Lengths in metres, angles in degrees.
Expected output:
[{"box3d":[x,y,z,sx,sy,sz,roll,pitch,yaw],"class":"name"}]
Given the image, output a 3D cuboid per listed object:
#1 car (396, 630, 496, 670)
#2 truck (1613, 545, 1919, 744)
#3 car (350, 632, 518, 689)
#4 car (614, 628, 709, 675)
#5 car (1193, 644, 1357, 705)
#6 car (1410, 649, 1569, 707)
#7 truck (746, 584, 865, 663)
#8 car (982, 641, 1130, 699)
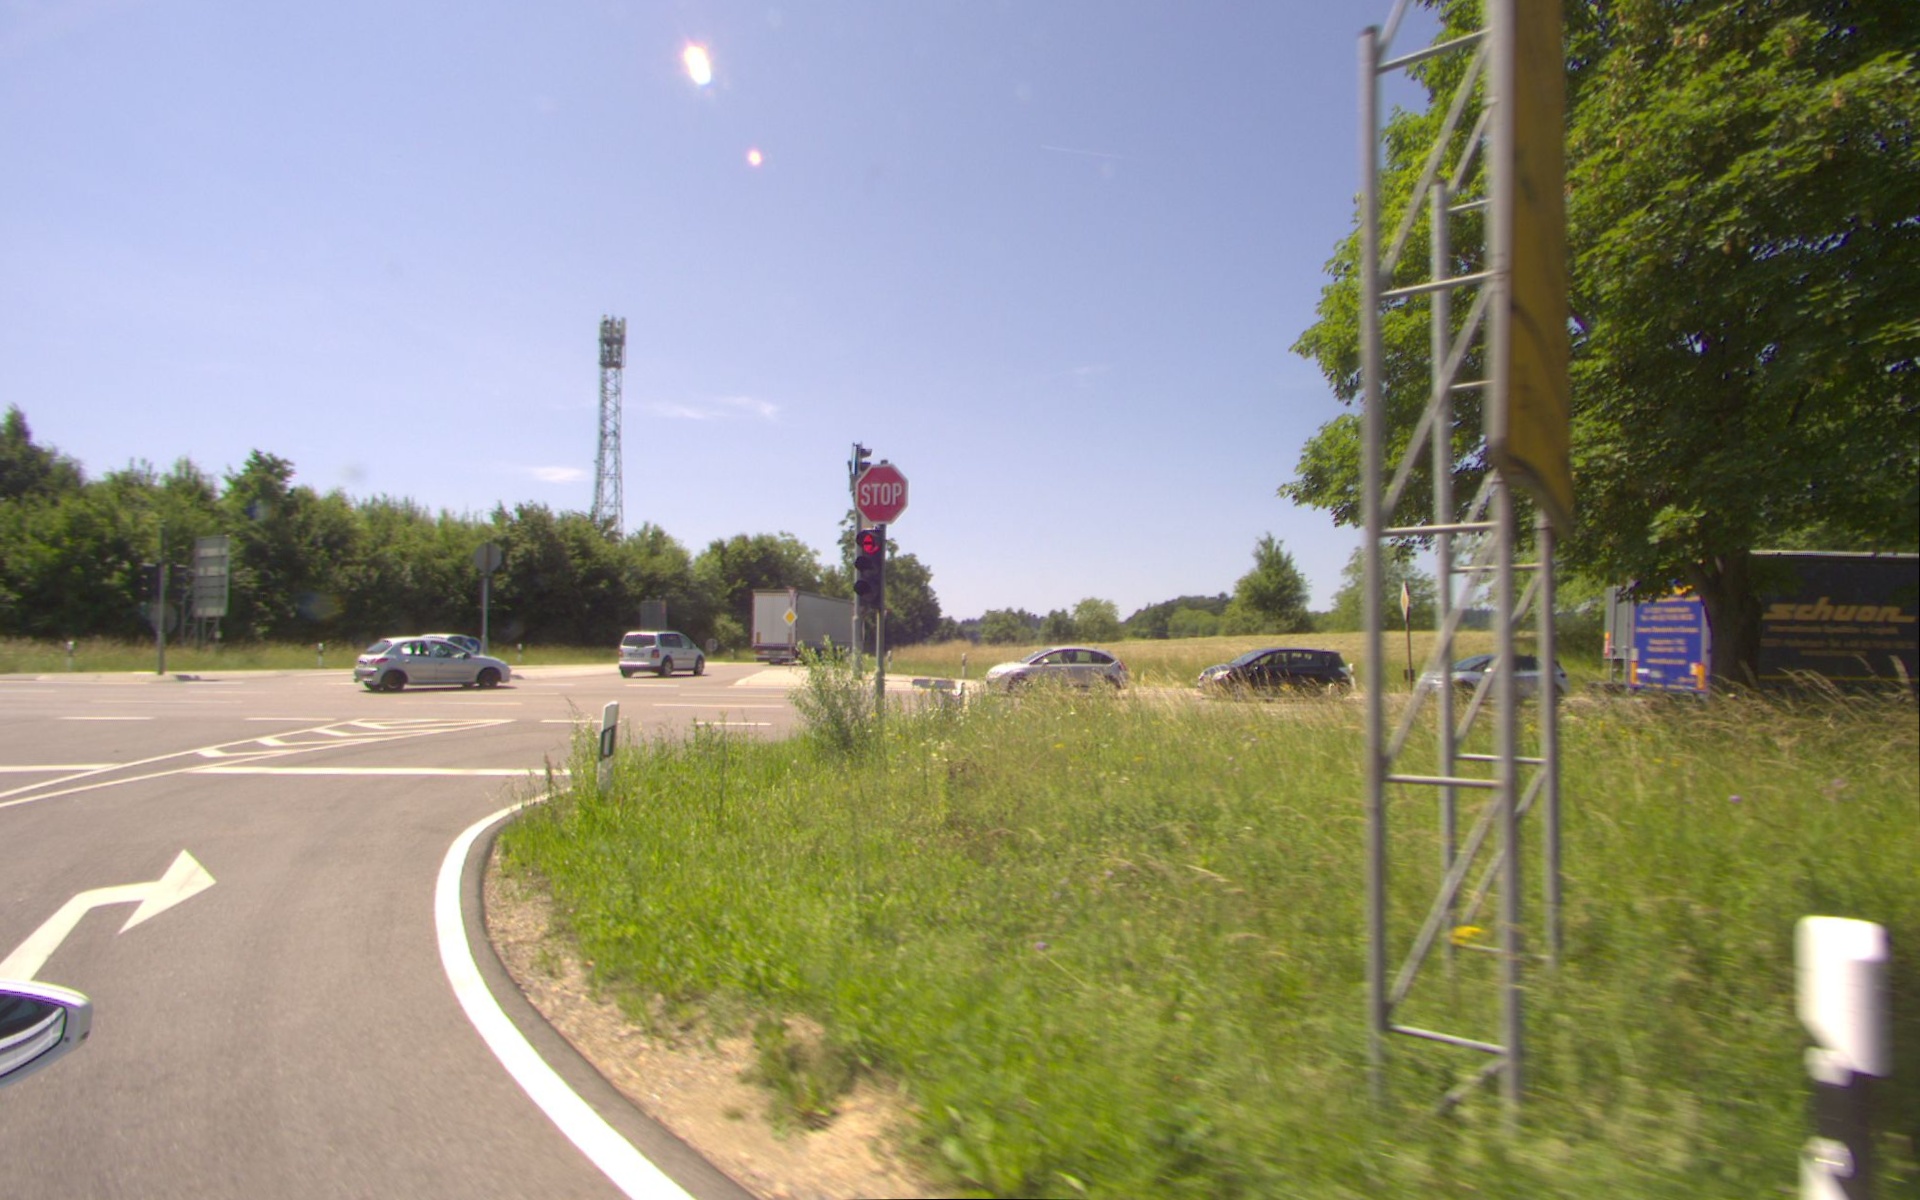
[{"box3d":[-19.106,1.843,37.389,1.540,1.388,3.531,1,-1,8],"class":"car"},{"box3d":[24.184,1.133,23.128,16.484,4.184,2.853,1,-1,-1],"class":"truck"},{"box3d":[-14.470,1.628,27.661,1.799,1.431,3.750,0,-2,44],"class":"car"},{"box3d":[-11.142,1.881,37.632,1.784,1.646,4.059,0,-1,10],"class":"car"},{"box3d":[9.253,2.182,29.641,4.297,1.573,1.729,2,0,0],"class":"car"},{"box3d":[16.083,2.354,30.520,3.943,1.573,1.655,2,0,0],"class":"car"},{"box3d":[-9.147,1.659,62.503,3.075,4.224,16.695,1,-3,6],"class":"truck"},{"box3d":[2.771,2.042,29.486,4.090,1.489,1.729,2,0,-3],"class":"car"}]
